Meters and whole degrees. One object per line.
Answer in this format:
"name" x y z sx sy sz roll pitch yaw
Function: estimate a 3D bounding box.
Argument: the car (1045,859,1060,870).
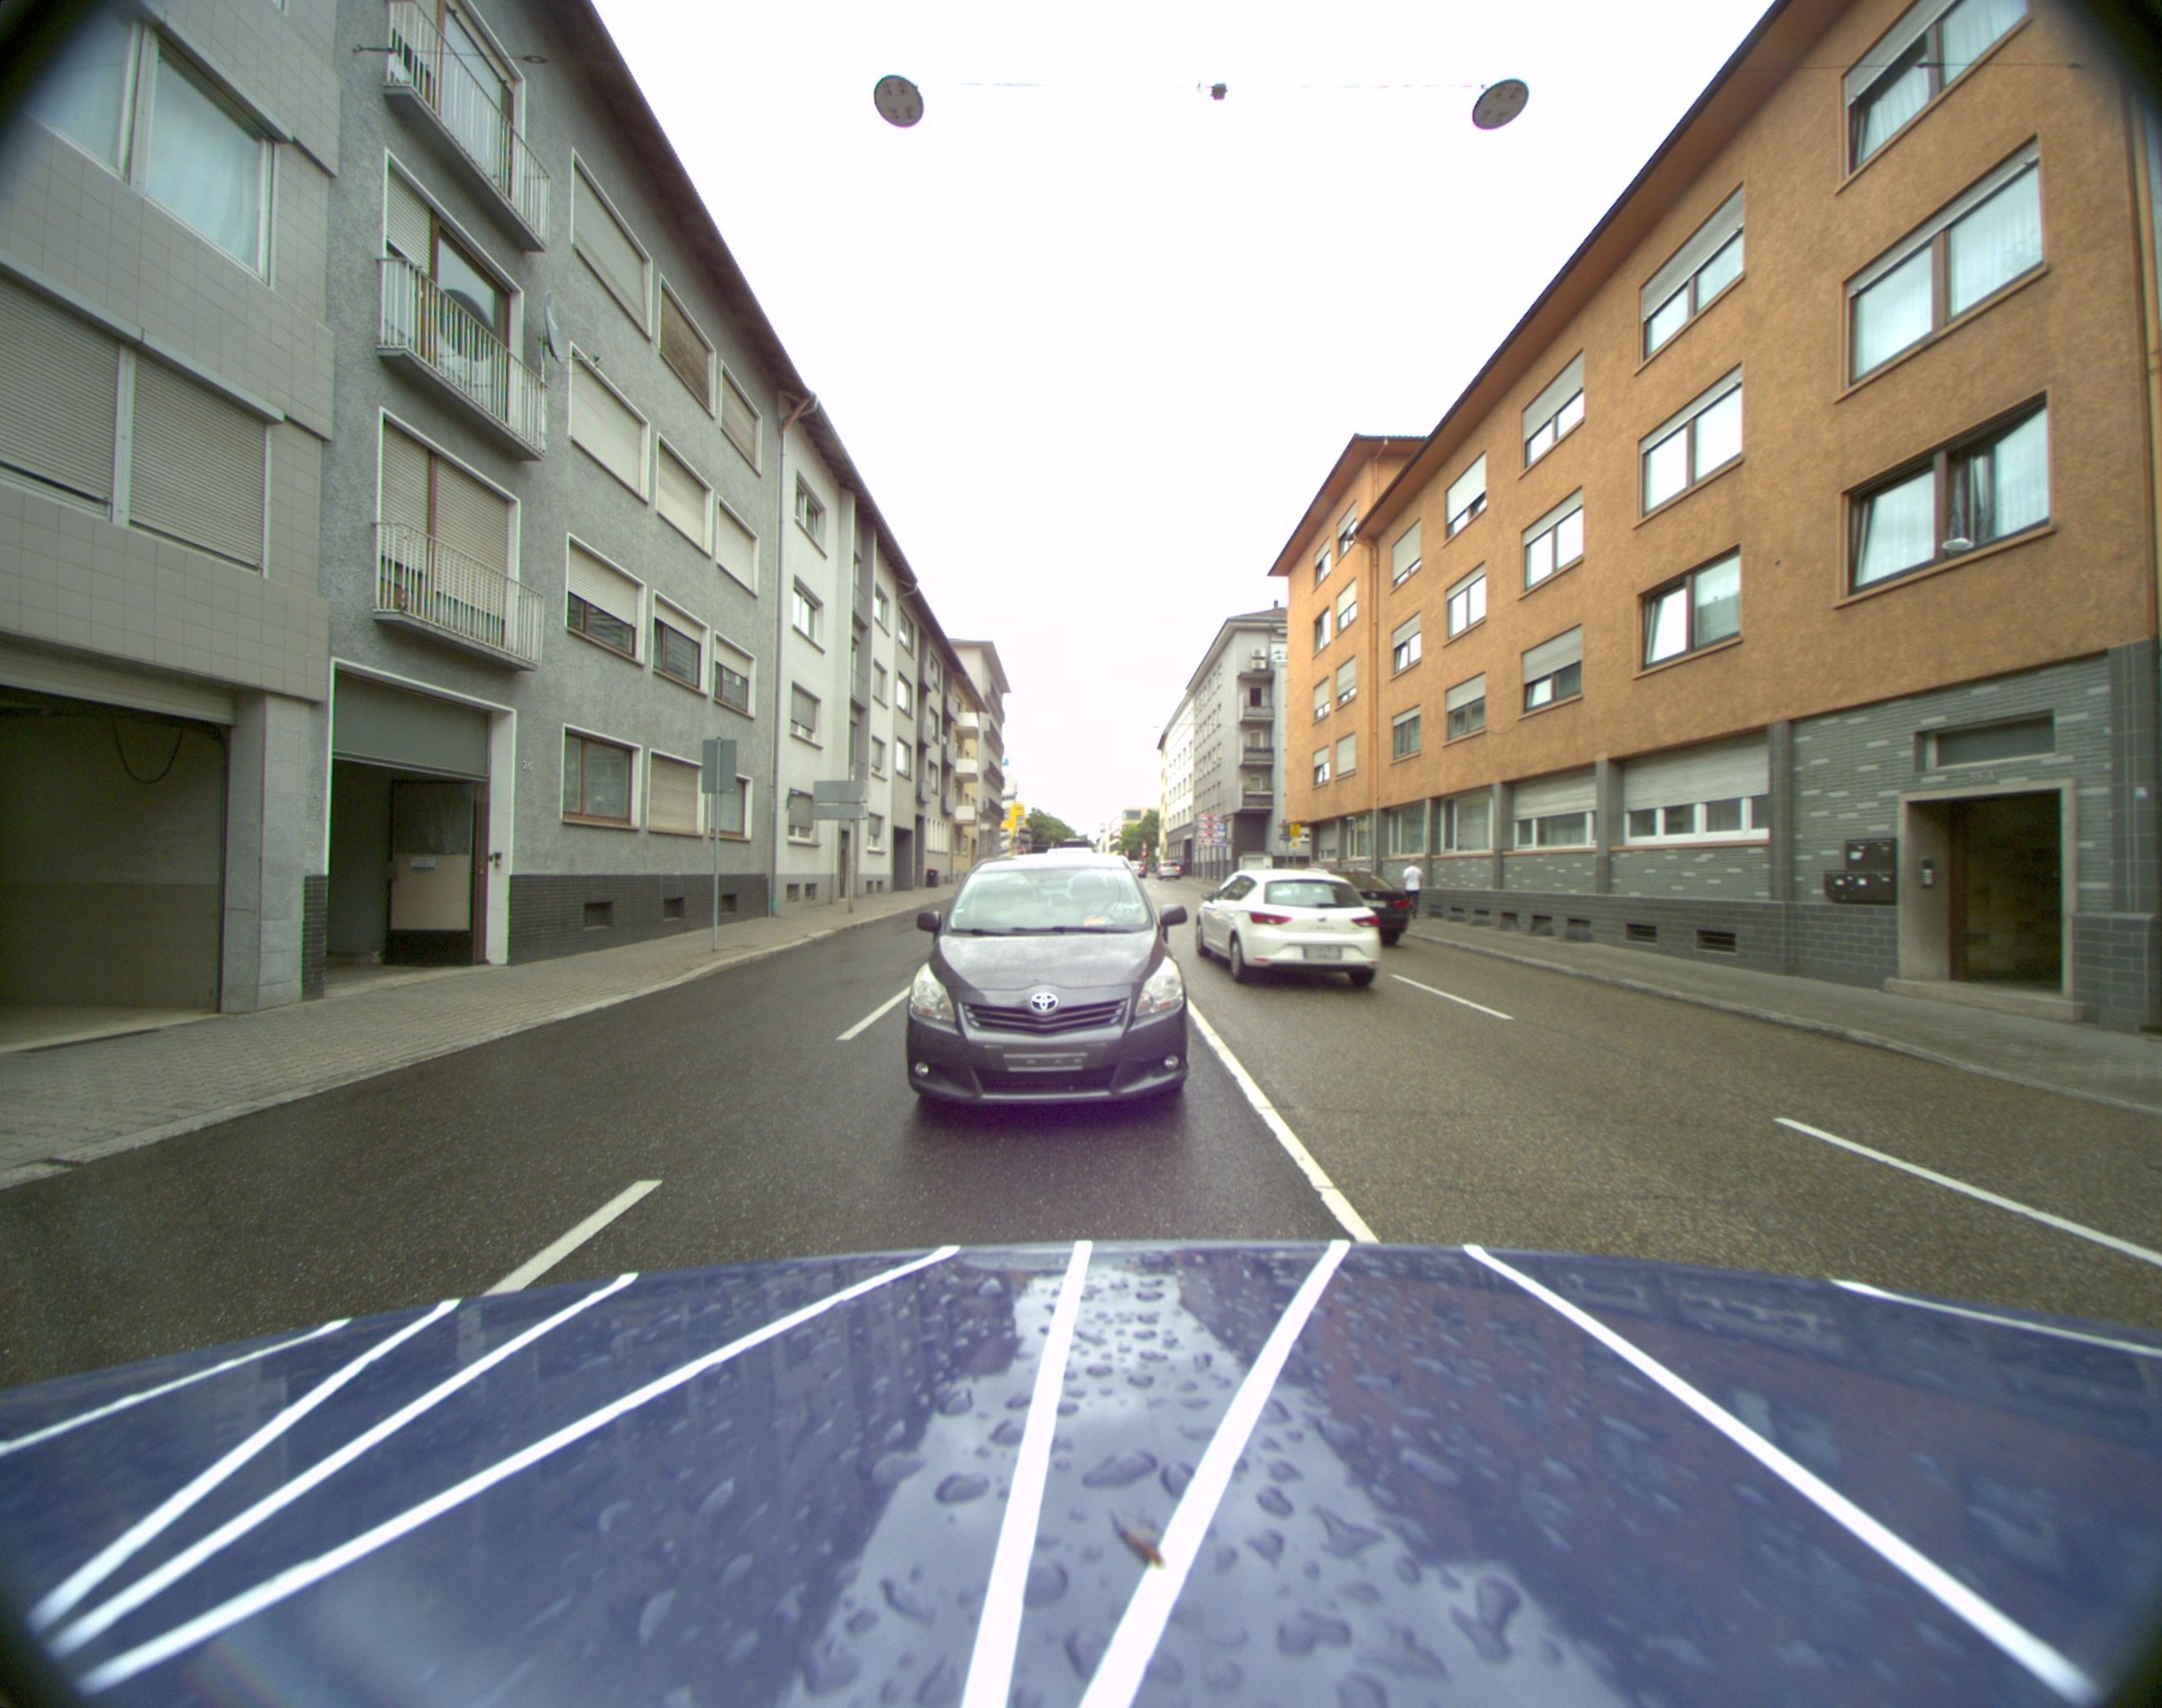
"car" -4.120 1.472 109.186 1.856 1.369 4.217 -2 1 1

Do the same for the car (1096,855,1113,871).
"car" 2.848 1.062 92.785 1.856 1.712 4.217 -2 1 1

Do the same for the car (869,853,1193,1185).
"car" -0.243 0.903 6.251 1.699 1.712 4.217 -2 1 1

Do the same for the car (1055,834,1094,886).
"car" -0.324 0.297 43.644 2.033 2.731 4.368 -2 1 1

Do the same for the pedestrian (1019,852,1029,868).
"pedestrian" -6.524 0.684 87.276 1.119 1.741 0.961 1 1 -5

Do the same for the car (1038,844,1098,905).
"car" -0.388 0.637 26.600 1.856 1.882 4.217 -2 1 1

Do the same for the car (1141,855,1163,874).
"car" 7.262 1.062 77.676 1.856 1.712 4.217 -2 1 1

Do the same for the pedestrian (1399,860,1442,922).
"pedestrian" 9.485 1.017 21.282 0.768 1.630 1.023 -2 1 5

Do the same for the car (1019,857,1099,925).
"car" -0.497 0.894 20.095 1.856 1.524 3.792 -2 1 1

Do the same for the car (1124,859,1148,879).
"car" 5.060 1.336 70.690 1.856 1.651 4.610 -2 1 1

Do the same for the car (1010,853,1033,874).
"car" -5.124 0.790 65.885 1.856 1.663 4.215 -2 1 -4

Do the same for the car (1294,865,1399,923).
"car" 8.051 1.146 23.460 1.799 1.466 4.217 -2 1 1

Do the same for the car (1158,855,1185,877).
"car" 7.822 0.991 65.752 1.856 1.712 4.217 -2 1 1

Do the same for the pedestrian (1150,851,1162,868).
"pedestrian" 9.028 0.660 91.292 1.309 2.002 1.258 -2 1 1

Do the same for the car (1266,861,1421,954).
"car" 5.470 1.027 16.469 1.699 1.530 4.435 4 1 0

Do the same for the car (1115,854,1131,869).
"car" 5.358 0.914 97.364 1.856 1.712 4.217 -2 1 1

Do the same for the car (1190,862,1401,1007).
"car" 2.757 0.949 10.760 1.749 1.530 4.052 2 1 -1
